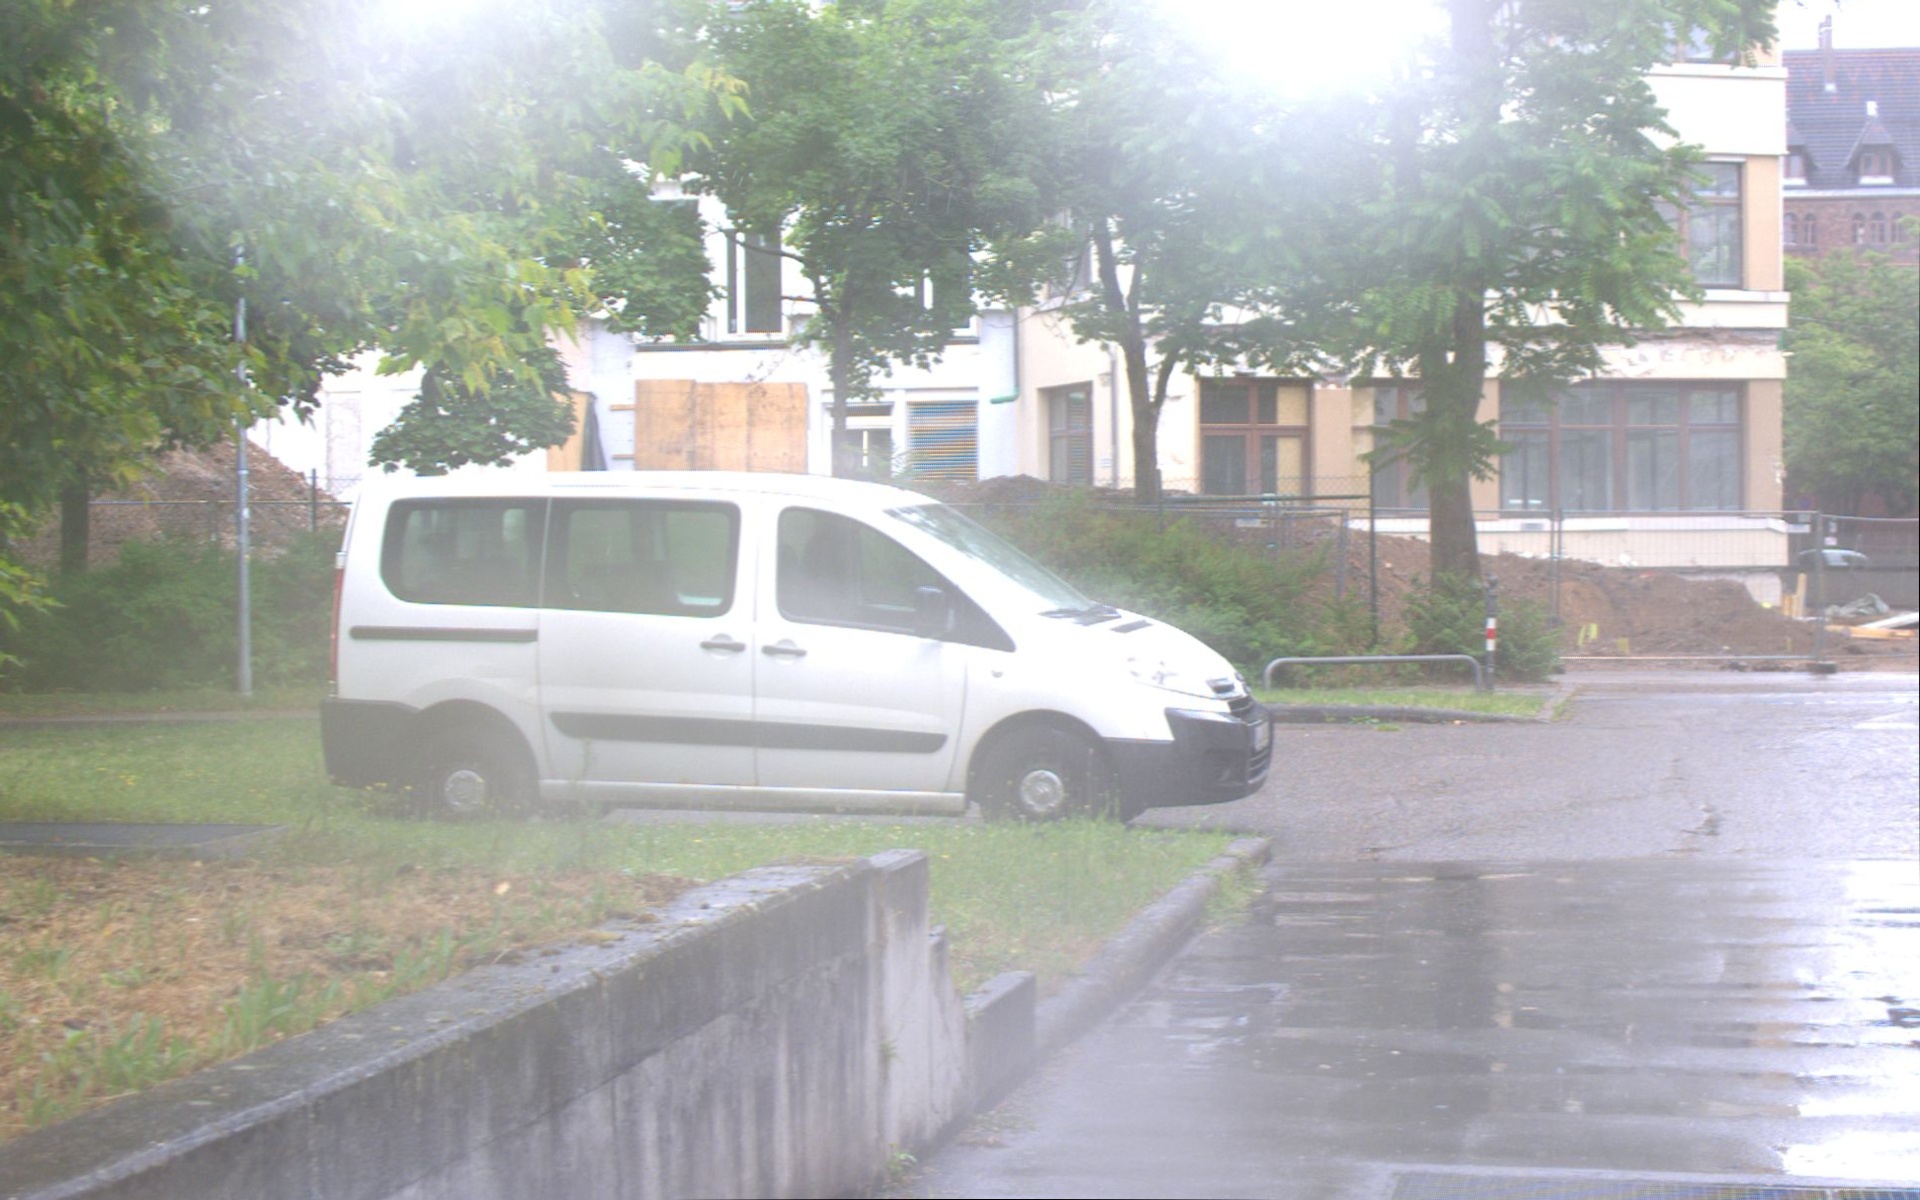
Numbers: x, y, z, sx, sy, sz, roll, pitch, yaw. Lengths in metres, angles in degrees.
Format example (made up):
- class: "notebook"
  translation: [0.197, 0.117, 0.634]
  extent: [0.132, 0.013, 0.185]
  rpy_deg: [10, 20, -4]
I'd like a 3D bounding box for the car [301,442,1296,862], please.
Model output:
- class: "car"
  translation: [-0.775, 0.260, 17.927]
  extent: [4.783, 2.007, 1.999]
  rpy_deg: [-1, 1, 13]
